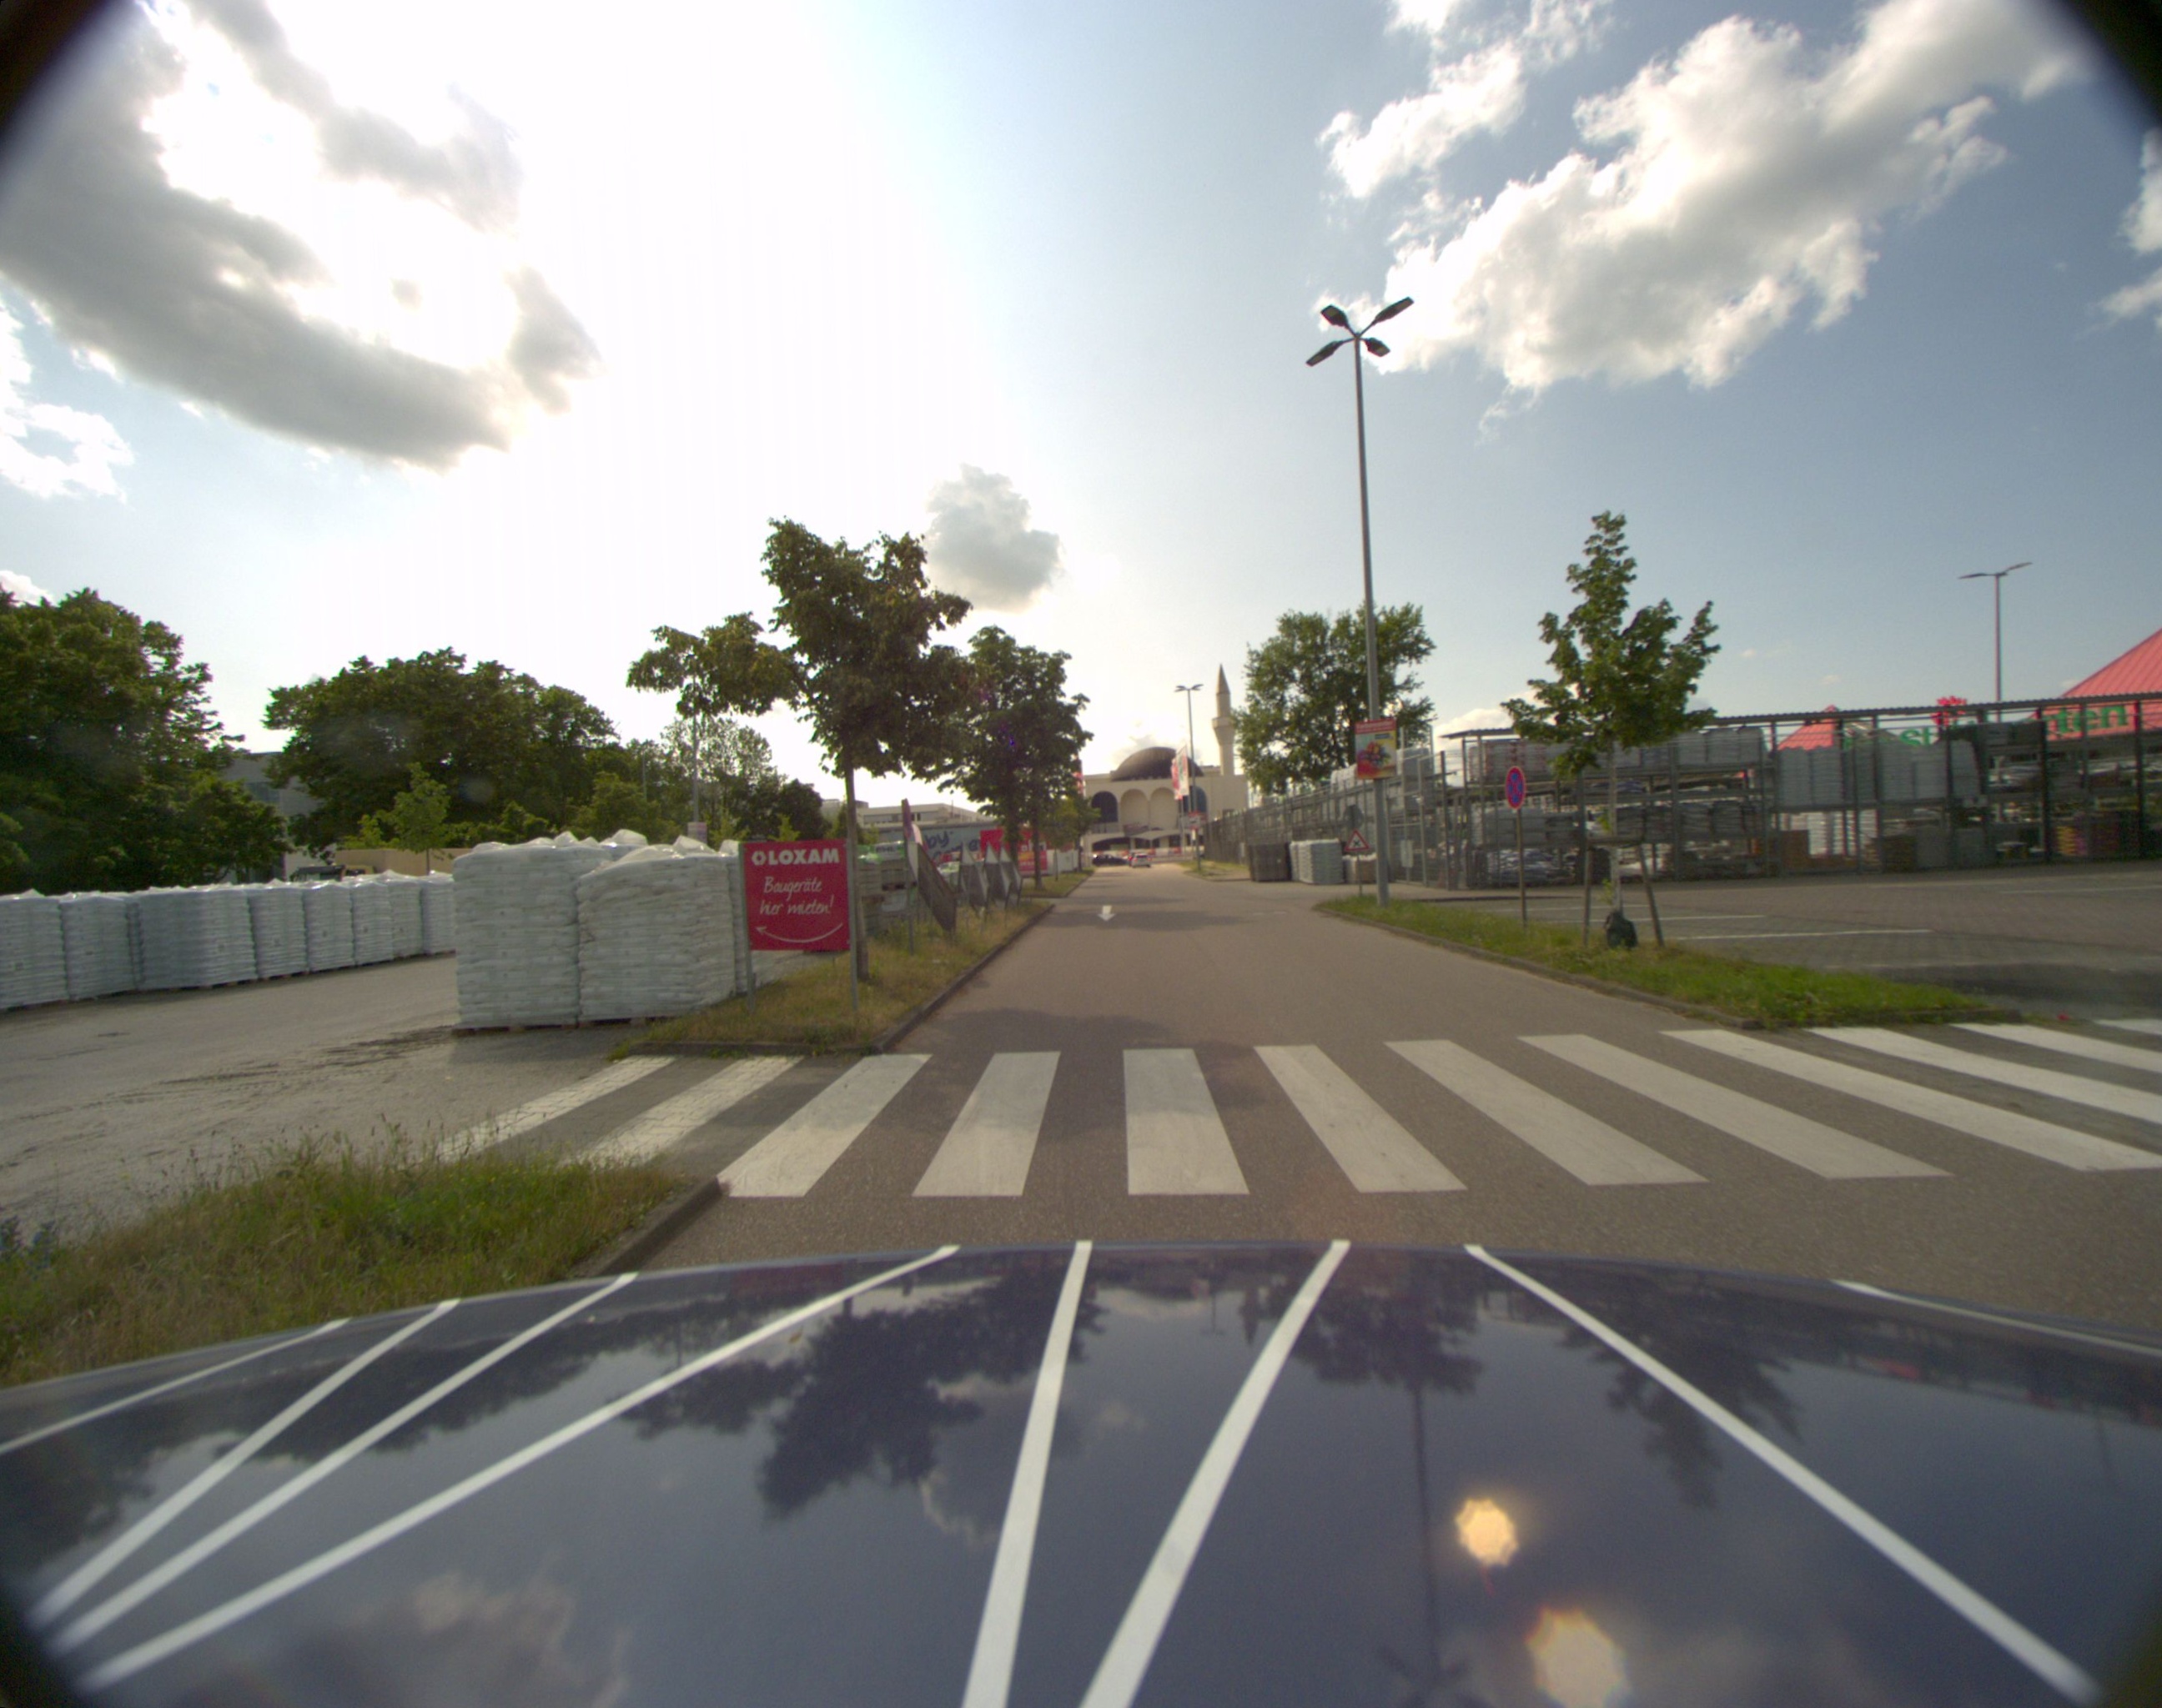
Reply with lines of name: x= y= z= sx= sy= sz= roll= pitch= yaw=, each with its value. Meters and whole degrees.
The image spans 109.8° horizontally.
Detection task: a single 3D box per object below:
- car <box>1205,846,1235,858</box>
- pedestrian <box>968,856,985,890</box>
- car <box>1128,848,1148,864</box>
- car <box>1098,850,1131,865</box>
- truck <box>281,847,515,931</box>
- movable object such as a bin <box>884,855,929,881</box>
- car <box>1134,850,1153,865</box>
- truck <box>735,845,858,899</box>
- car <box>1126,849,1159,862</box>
car: x=17.912 y=-0.221 z=98.017 sx=3.706 sy=1.359 sz=1.652 roll=-2 pitch=0 yaw=5
pedestrian: x=-5.383 y=0.979 z=39.116 sx=0.600 sy=1.682 sz=0.879 roll=-2 pitch=2 yaw=4
car: x=6.343 y=0.249 z=85.028 sx=1.920 sy=1.608 sz=4.374 roll=-2 pitch=0 yaw=2
car: x=4.177 y=0.407 z=95.145 sx=3.997 sy=1.636 sz=1.907 roll=-3 pitch=1 yaw=0
truck: x=-32.993 y=1.503 z=37.469 sx=2.727 sy=3.577 sz=9.039 roll=-2 pitch=0 yaw=4
movable object such as a bin: x=-13.537 y=1.082 z=58.952 sx=3.010 sy=1.833 sz=1.389 roll=-3 pitch=0 yaw=3
car: x=6.364 y=0.323 z=77.841 sx=1.808 sy=1.456 sz=4.329 roll=-3 pitch=1 yaw=4
truck: x=-14.690 y=0.922 z=39.438 sx=5.441 sy=2.500 sz=2.116 roll=-3 pitch=0 yaw=0
car: x=7.998 y=0.186 z=98.728 sx=4.189 sy=1.501 sz=1.792 roll=-3 pitch=1 yaw=4
